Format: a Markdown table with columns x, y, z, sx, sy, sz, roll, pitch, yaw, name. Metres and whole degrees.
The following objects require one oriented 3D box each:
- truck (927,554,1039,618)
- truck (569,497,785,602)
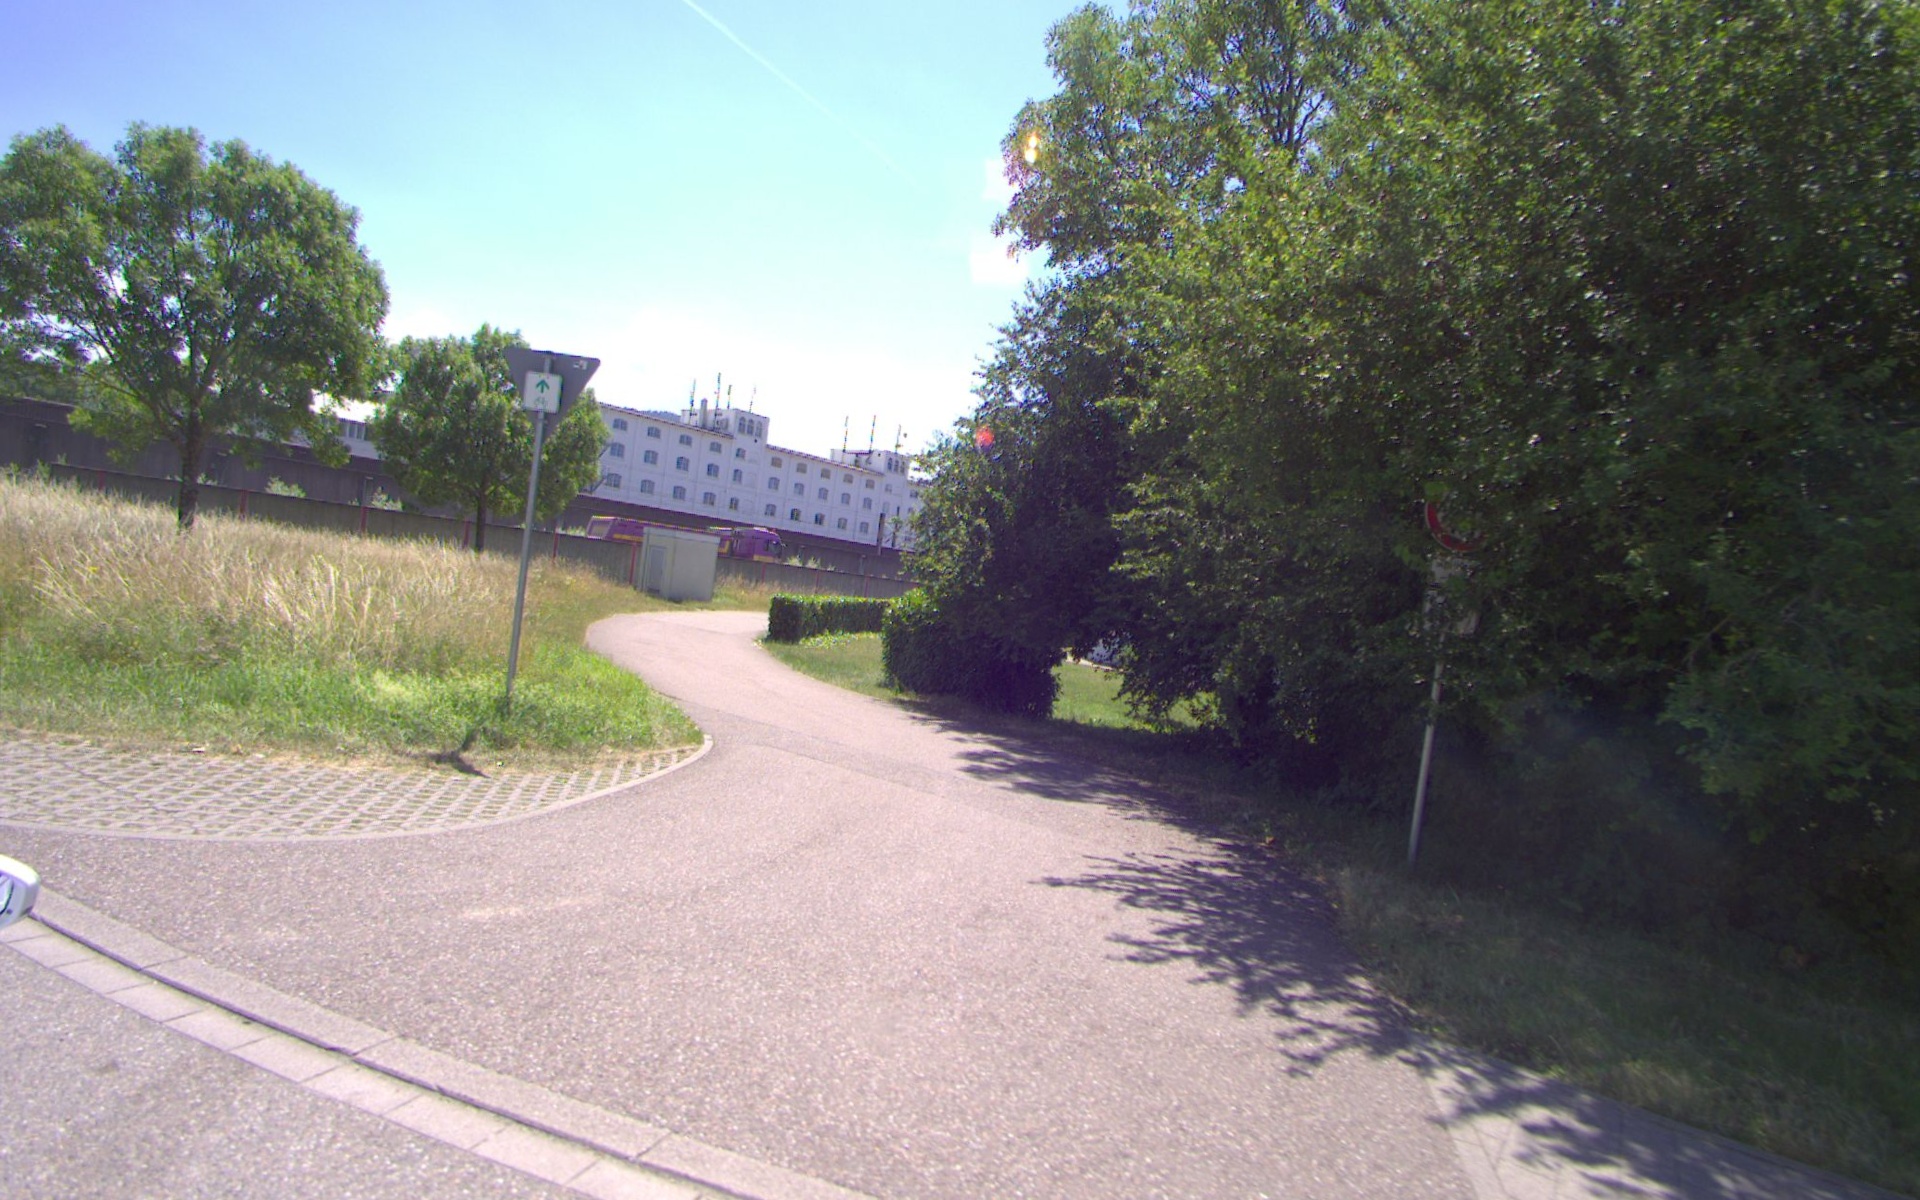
| x | y | z | sx | sy | sz | roll | pitch | yaw | name |
| --- | --- | --- | --- | --- | --- | --- | --- | --- | --- |
| 1.999 | -1.015 | 79.197 | 2.960 | 3.765 | 10.524 | 8 | 0 | 37 | truck |
| -15.504 | -2.668 | 56.543 | 2.962 | 4.231 | 11.761 | 8 | 0 | 39 | truck |
